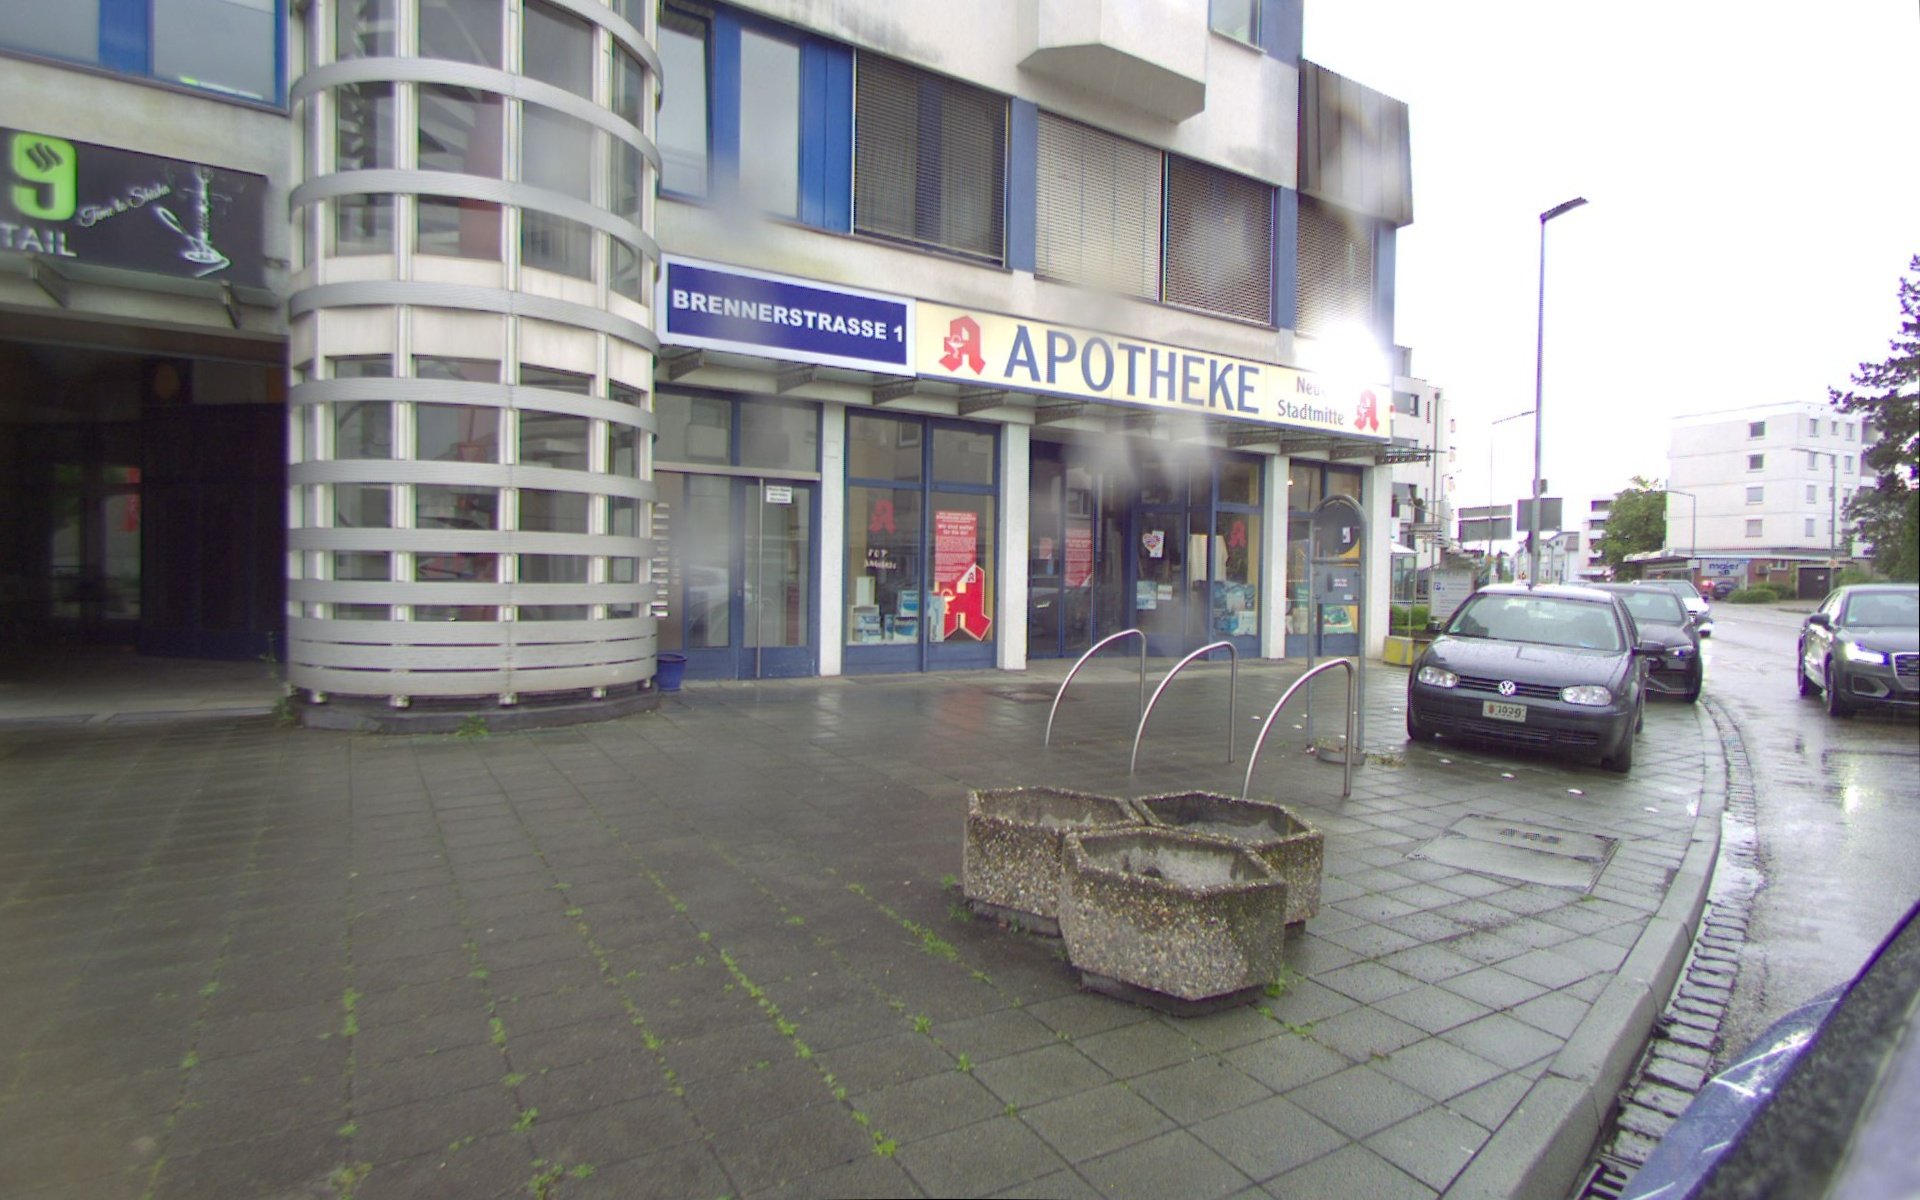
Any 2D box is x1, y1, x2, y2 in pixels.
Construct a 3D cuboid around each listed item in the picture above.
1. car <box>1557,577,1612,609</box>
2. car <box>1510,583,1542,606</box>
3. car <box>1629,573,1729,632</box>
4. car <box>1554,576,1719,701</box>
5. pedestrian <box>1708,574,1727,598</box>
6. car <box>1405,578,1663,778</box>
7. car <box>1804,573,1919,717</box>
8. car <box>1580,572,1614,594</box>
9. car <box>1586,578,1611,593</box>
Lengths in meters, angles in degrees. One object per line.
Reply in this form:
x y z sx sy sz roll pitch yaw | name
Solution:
30.690 -0.372 49.806 1.783 1.385 3.941 1 3 25 | car
42.506 -0.420 76.052 1.982 1.635 3.961 -1 1 28 | car
20.330 0.033 28.773 1.718 1.547 4.024 2 1 27 | car
9.414 0.414 14.027 1.650 1.442 3.949 2 2 36 | car
57.276 -1.080 76.535 0.845 1.757 0.831 1 2 20 | pedestrian
5.481 0.534 9.445 1.646 1.388 3.683 5 4 36 | car
11.440 0.435 12.049 1.724 1.462 3.998 1 2 34 | car
45.849 -1.228 72.865 1.735 1.472 3.778 1 3 28 | car
65.791 -1.538 104.253 1.855 1.454 3.704 1 2 28 | car
